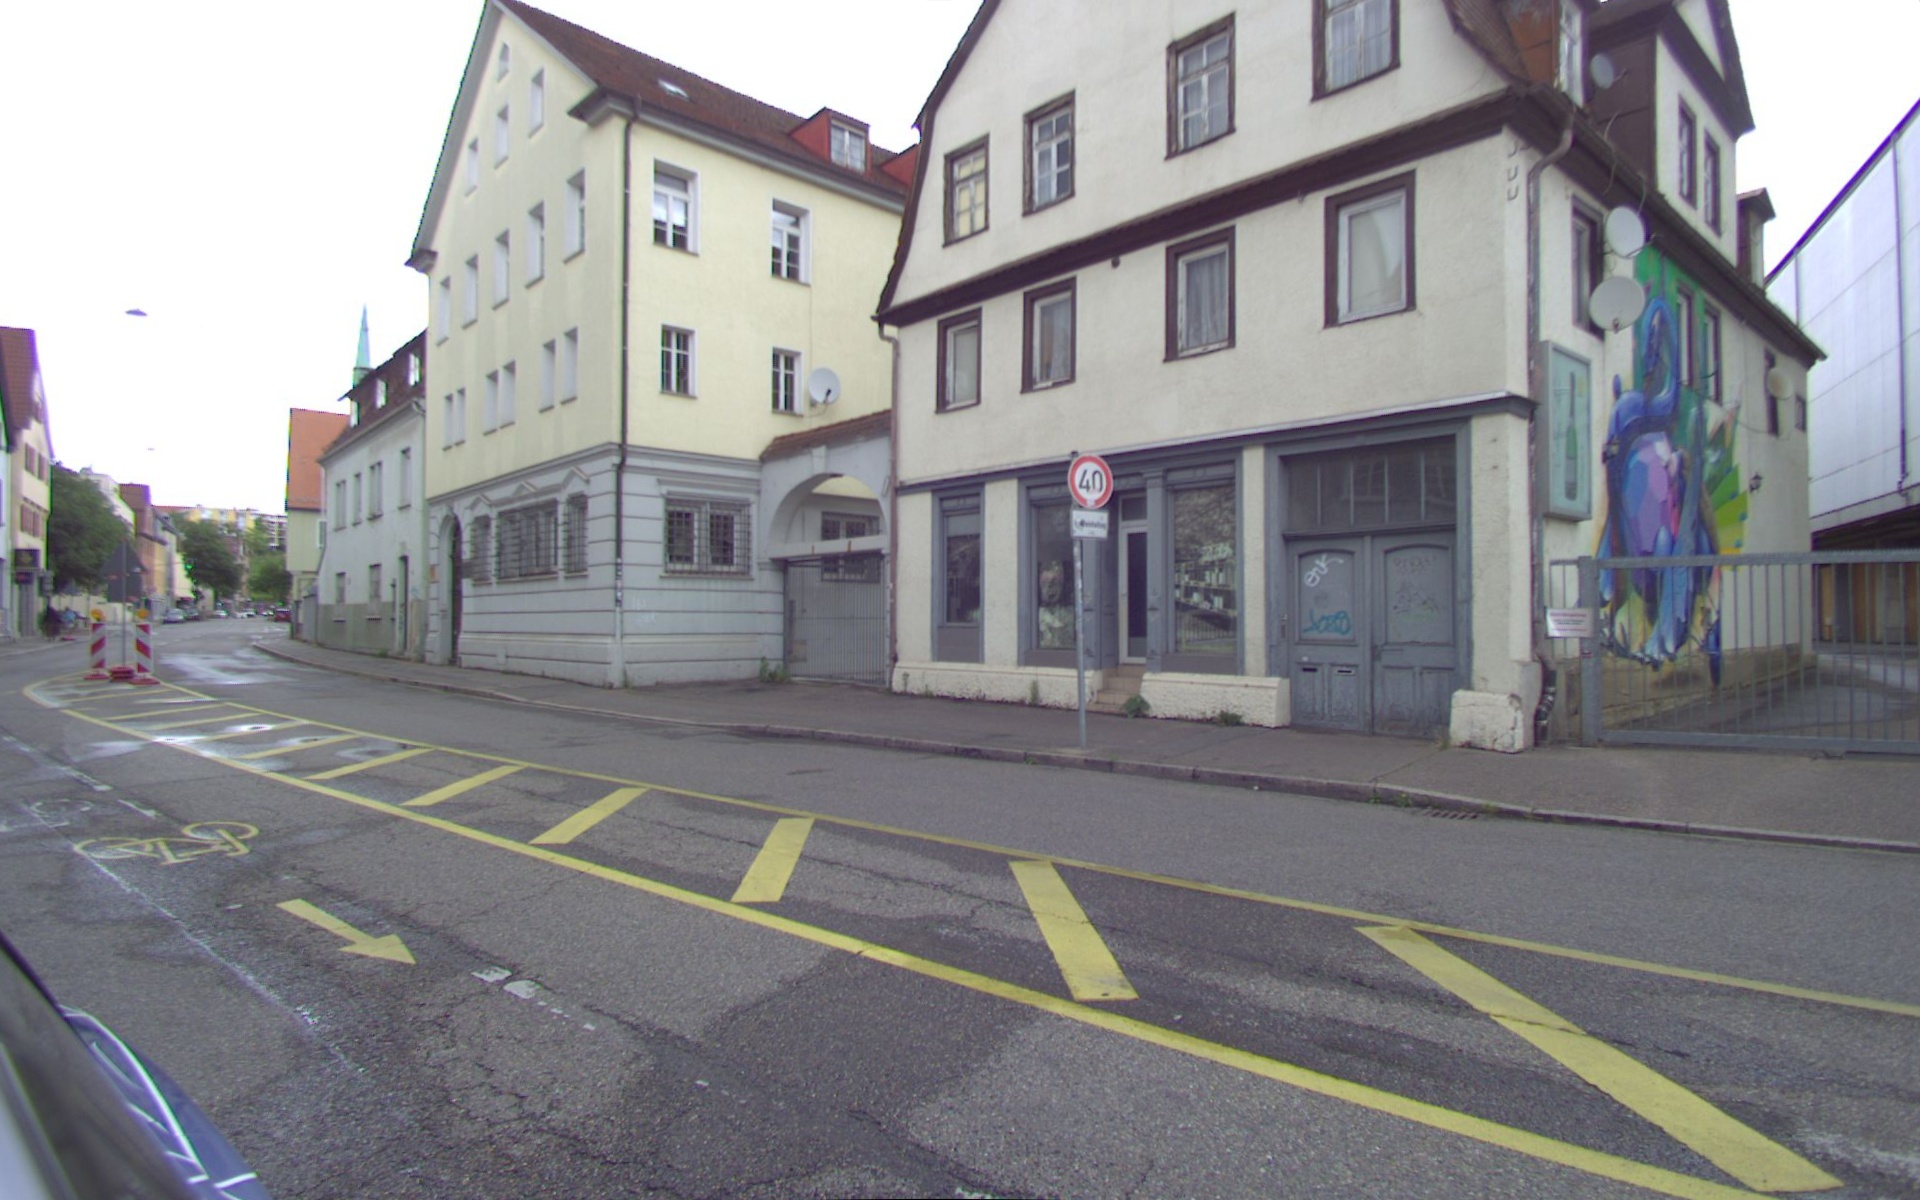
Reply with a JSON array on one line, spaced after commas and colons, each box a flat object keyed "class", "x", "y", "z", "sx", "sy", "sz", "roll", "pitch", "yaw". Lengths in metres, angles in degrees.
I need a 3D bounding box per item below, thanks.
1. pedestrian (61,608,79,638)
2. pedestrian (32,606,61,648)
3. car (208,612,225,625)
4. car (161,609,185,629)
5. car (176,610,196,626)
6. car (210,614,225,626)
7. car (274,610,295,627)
[{"class": "pedestrian", "x": -54.826, "y": 1.428, "z": 62.349, "sx": 0.653, "sy": 1.808, "sz": 0.559, "roll": -1, "pitch": -2, "yaw": 12}, {"class": "pedestrian", "x": -42.354, "y": 1.263, "z": 46.942, "sx": 0.864, "sy": 1.914, "sz": 0.899, "roll": 1, "pitch": -2, "yaw": -36}, {"class": "car", "x": -114.768, "y": 2.863, "z": 156.217, "sx": 1.967, "sy": 2.029, "sz": 4.009, "roll": 1, "pitch": -2, "yaw": -37}, {"class": "car", "x": -84.790, "y": 2.059, "z": 109.038, "sx": 1.967, "sy": 2.029, "sz": 4.009, "roll": 1, "pitch": -2, "yaw": -37}, {"class": "car", "x": -96.941, "y": 2.250, "z": 126.827, "sx": 1.967, "sy": 2.029, "sz": 4.009, "roll": 1, "pitch": -2, "yaw": -37}, {"class": "car", "x": -123.514, "y": 3.325, "z": 168.288, "sx": 1.967, "sy": 2.029, "sz": 4.009, "roll": 1, "pitch": -2, "yaw": -37}, {"class": "car", "x": -85.662, "y": 2.331, "z": 128.354, "sx": 2.027, "sy": 2.029, "sz": 4.009, "roll": 1, "pitch": -2, "yaw": -37}]
